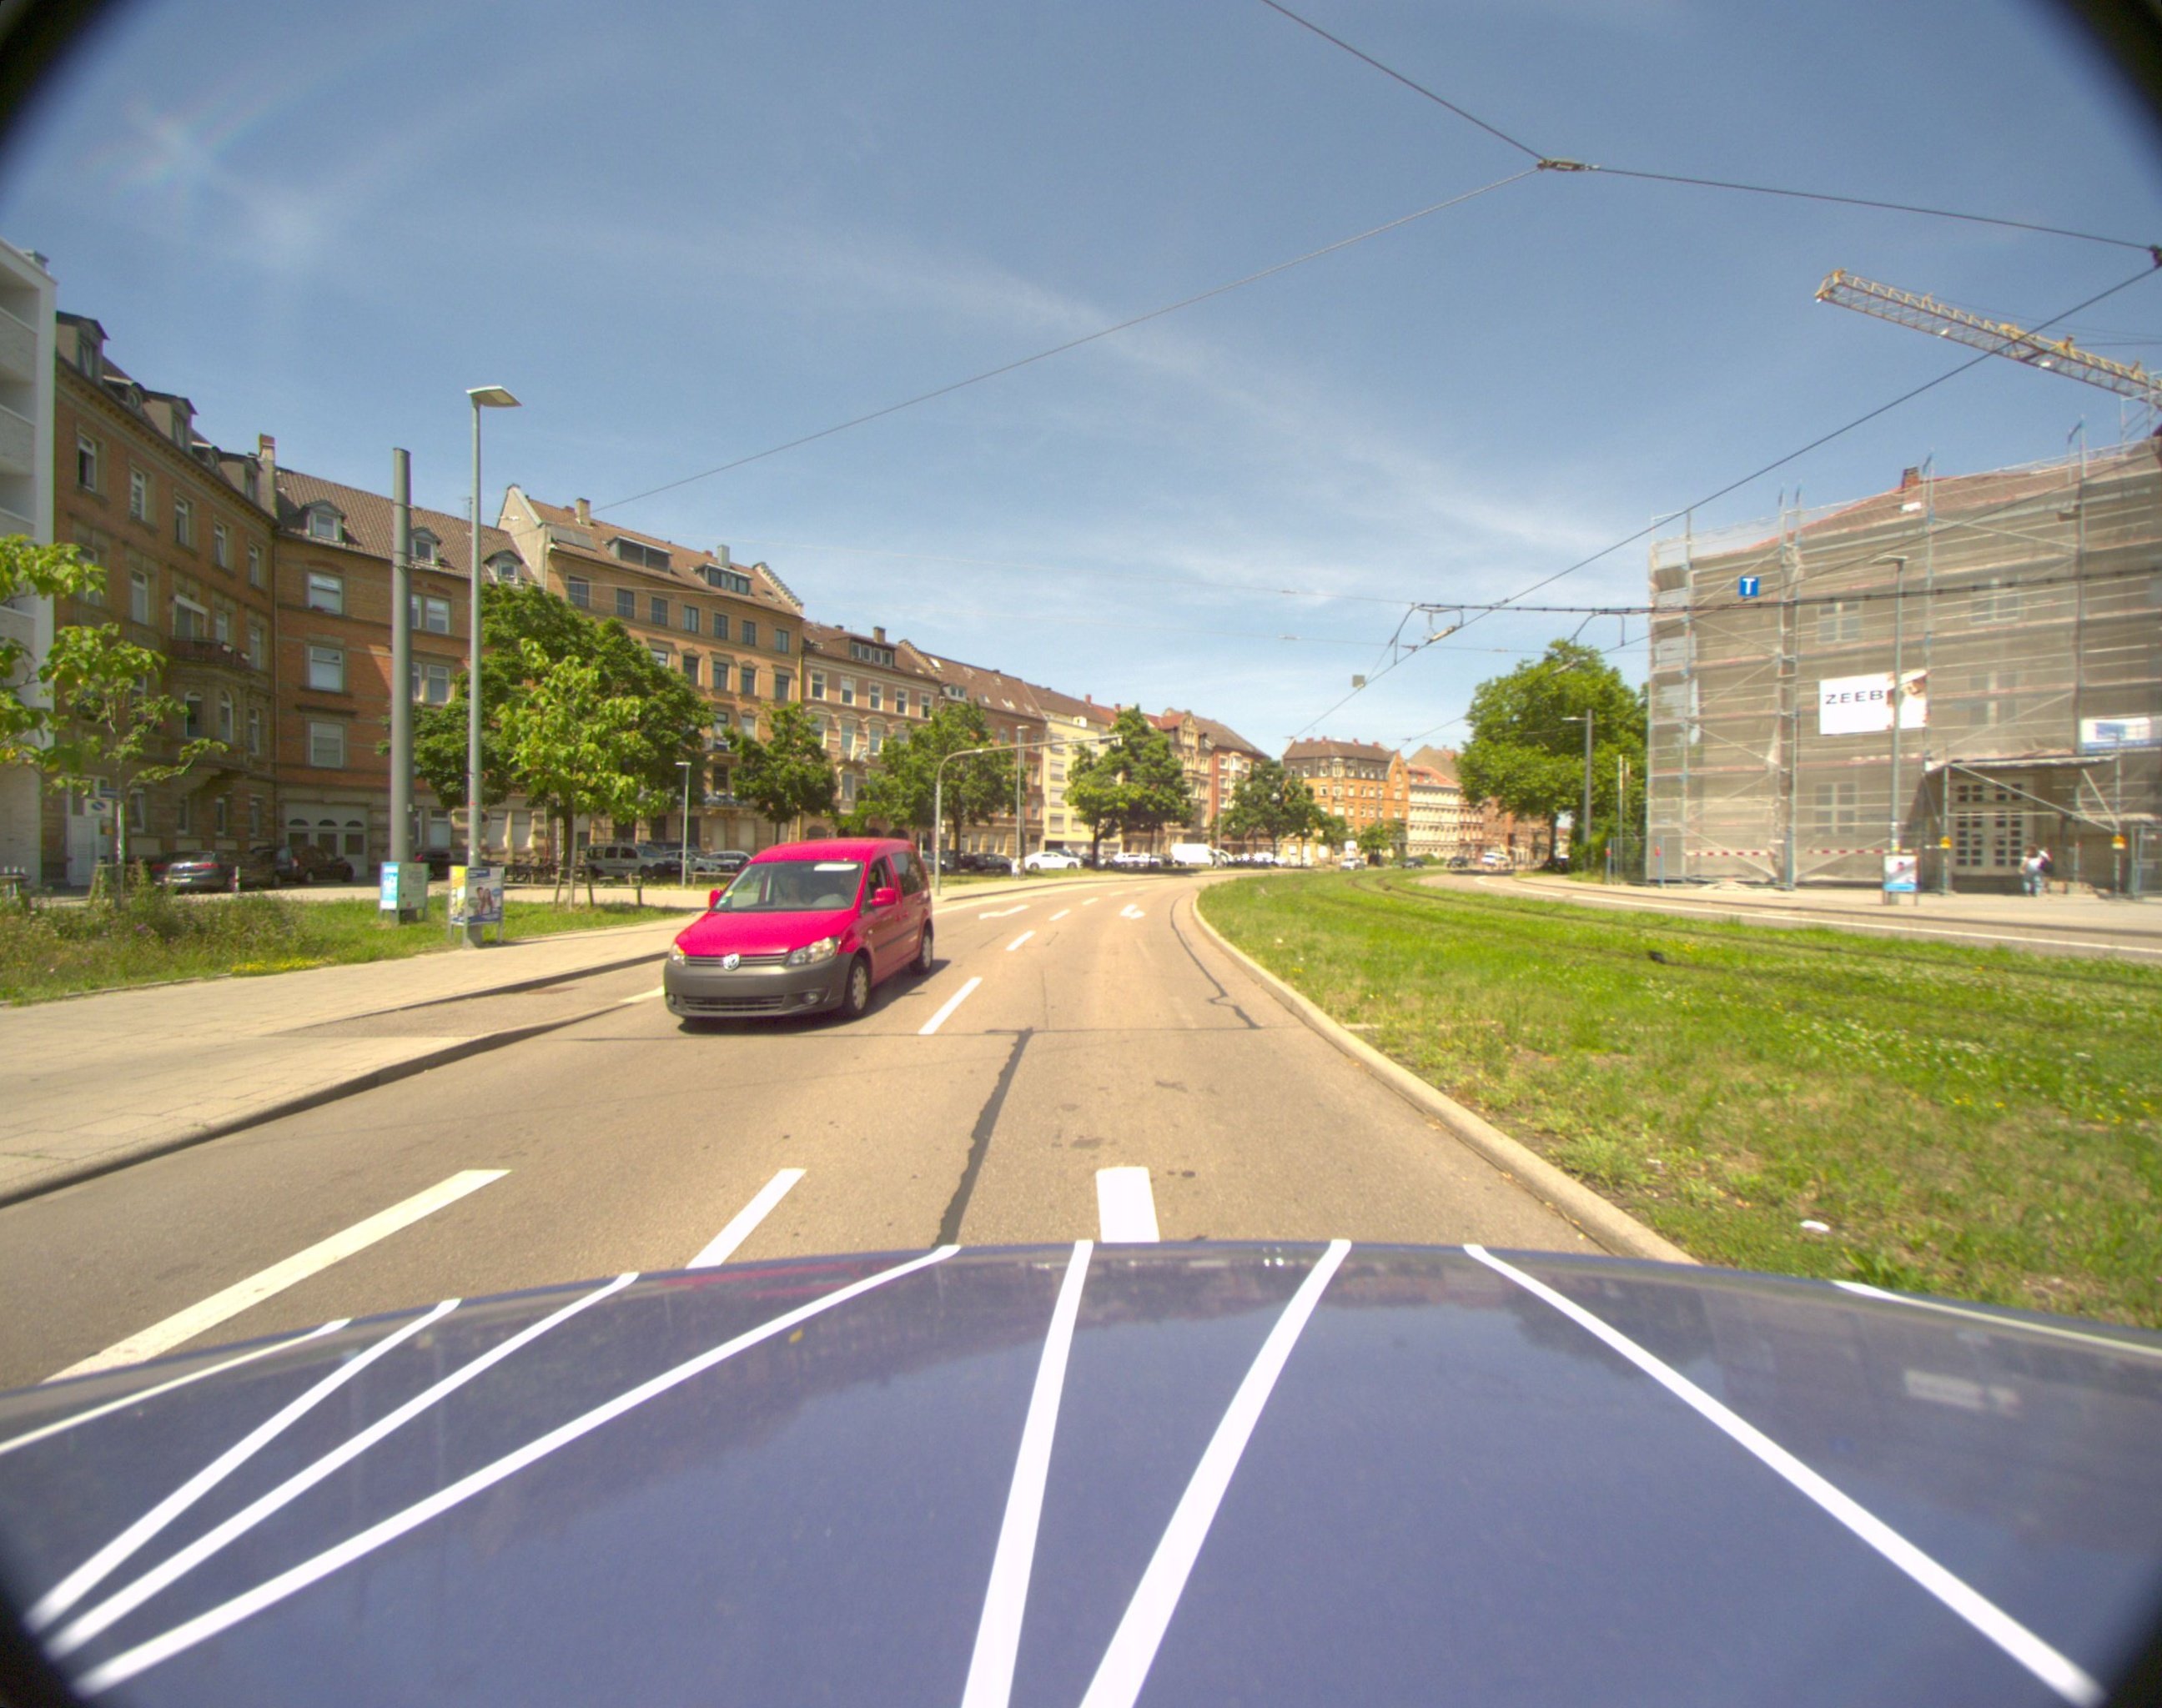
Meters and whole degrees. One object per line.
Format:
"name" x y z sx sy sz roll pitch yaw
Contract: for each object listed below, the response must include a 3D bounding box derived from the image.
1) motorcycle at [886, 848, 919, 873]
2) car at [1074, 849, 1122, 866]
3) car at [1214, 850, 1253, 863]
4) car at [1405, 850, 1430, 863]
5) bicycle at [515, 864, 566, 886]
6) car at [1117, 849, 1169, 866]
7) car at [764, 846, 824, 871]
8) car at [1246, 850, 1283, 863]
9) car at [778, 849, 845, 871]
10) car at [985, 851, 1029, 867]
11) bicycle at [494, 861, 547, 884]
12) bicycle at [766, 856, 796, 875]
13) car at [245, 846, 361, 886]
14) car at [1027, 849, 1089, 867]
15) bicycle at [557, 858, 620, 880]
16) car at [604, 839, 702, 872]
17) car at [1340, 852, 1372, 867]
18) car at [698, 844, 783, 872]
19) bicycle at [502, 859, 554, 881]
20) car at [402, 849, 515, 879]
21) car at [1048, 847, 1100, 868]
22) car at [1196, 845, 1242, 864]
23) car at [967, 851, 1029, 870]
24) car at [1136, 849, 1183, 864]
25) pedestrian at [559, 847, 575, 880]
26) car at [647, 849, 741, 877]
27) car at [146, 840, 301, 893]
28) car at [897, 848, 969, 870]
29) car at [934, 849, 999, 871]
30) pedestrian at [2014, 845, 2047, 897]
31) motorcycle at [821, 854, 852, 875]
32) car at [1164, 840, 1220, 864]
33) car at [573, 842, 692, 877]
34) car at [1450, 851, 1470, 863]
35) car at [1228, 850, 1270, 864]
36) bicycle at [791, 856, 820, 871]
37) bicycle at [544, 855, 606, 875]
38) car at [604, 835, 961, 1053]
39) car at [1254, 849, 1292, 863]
"motorcycle" -10.335 0.383 44.037 0.675 1.405 1.860 2 1 40
"car" 1.461 0.277 65.121 3.996 1.392 1.713 -1 0 3
"car" 16.889 0.314 84.214 3.991 1.378 1.826 -1 0 18
"car" 42.103 0.360 95.059 1.796 1.564 4.009 -1 0 41
"bicycle" -23.915 0.913 33.611 2.047 0.930 0.509 -1 0 9
"car" 5.671 0.332 69.993 4.688 1.419 1.973 -1 0 3
"car" -17.034 0.287 45.062 1.961 1.368 3.989 0 -1 -43
"car" 21.546 0.276 89.217 3.991 1.391 1.826 -1 0 18
"car" -18.910 0.414 53.390 1.837 1.521 4.009 -1 0 41
"car" -6.550 0.455 67.718 1.779 1.411 3.724 -1 0 38
"bicycle" -23.829 0.777 32.301 2.047 0.930 0.509 -1 0 9
"bicycle" -15.212 0.600 38.552 1.373 0.942 0.475 -1 0 -30
"car" -31.580 0.480 31.019 1.779 1.520 4.075 -1 0 -22
"car" -1.818 0.308 60.435 4.785 1.305 2.149 -1 0 -2
"bicycle" -22.112 0.674 34.163 2.426 0.930 0.508 -1 0 -4
"car" -25.278 0.102 45.058 1.920 1.892 4.664 -1 0 40
"car" 29.169 0.605 80.501 1.796 1.564 4.009 -1 0 41
"car" -18.132 0.231 40.484 3.862 1.424 1.609 -1 0 10
"bicycle" -24.033 0.684 33.014 2.047 0.930 0.509 -1 0 9
"car" -30.781 0.497 37.671 1.772 1.411 4.009 -1 0 38
"car" -0.548 0.274 63.061 3.993 1.652 1.974 -1 0 12
"car" 14.867 0.067 81.891 4.840 1.961 2.078 -1 0 10
"car" -5.983 0.445 54.868 3.992 1.305 1.975 -1 0 18
"car" 7.508 0.272 72.962 4.427 1.330 1.973 -1 0 3
"pedestrian" -27.940 0.515 41.325 0.452 1.808 0.604 -1 0 39
"car" -19.458 0.467 38.234 3.993 1.324 1.761 -1 0 12
"car" -28.451 0.395 25.408 1.697 1.615 4.123 -1 0 -21
"car" -9.787 0.345 50.266 4.340 1.368 1.584 -1 0 13
"car" -7.993 0.427 53.231 4.085 1.461 1.800 -1 0 12
"pedestrian" 27.840 0.485 22.274 0.590 1.509 0.579 -1 0 -37
"motorcycle" -13.433 0.586 41.736 1.823 1.113 0.529 -1 0 32
"car" 11.530 -0.172 79.401 5.546 2.446 2.238 -1 0 3
"car" -21.224 0.273 35.990 4.866 1.591 1.838 -1 0 12
"car" 53.664 0.440 107.552 1.796 1.564 4.009 -1 0 38
"car" 19.247 0.350 86.987 4.624 1.488 1.968 -1 0 15
"bicycle" -15.309 0.539 42.216 1.457 0.800 0.498 -1 0 -17
"bicycle" -23.137 0.495 34.764 2.426 0.930 0.508 0 1 -4
"car" -2.944 0.788 9.005 1.859 1.823 5.168 -1 0 4
"car" 23.203 0.204 91.816 4.403 1.622 2.003 -1 0 17
